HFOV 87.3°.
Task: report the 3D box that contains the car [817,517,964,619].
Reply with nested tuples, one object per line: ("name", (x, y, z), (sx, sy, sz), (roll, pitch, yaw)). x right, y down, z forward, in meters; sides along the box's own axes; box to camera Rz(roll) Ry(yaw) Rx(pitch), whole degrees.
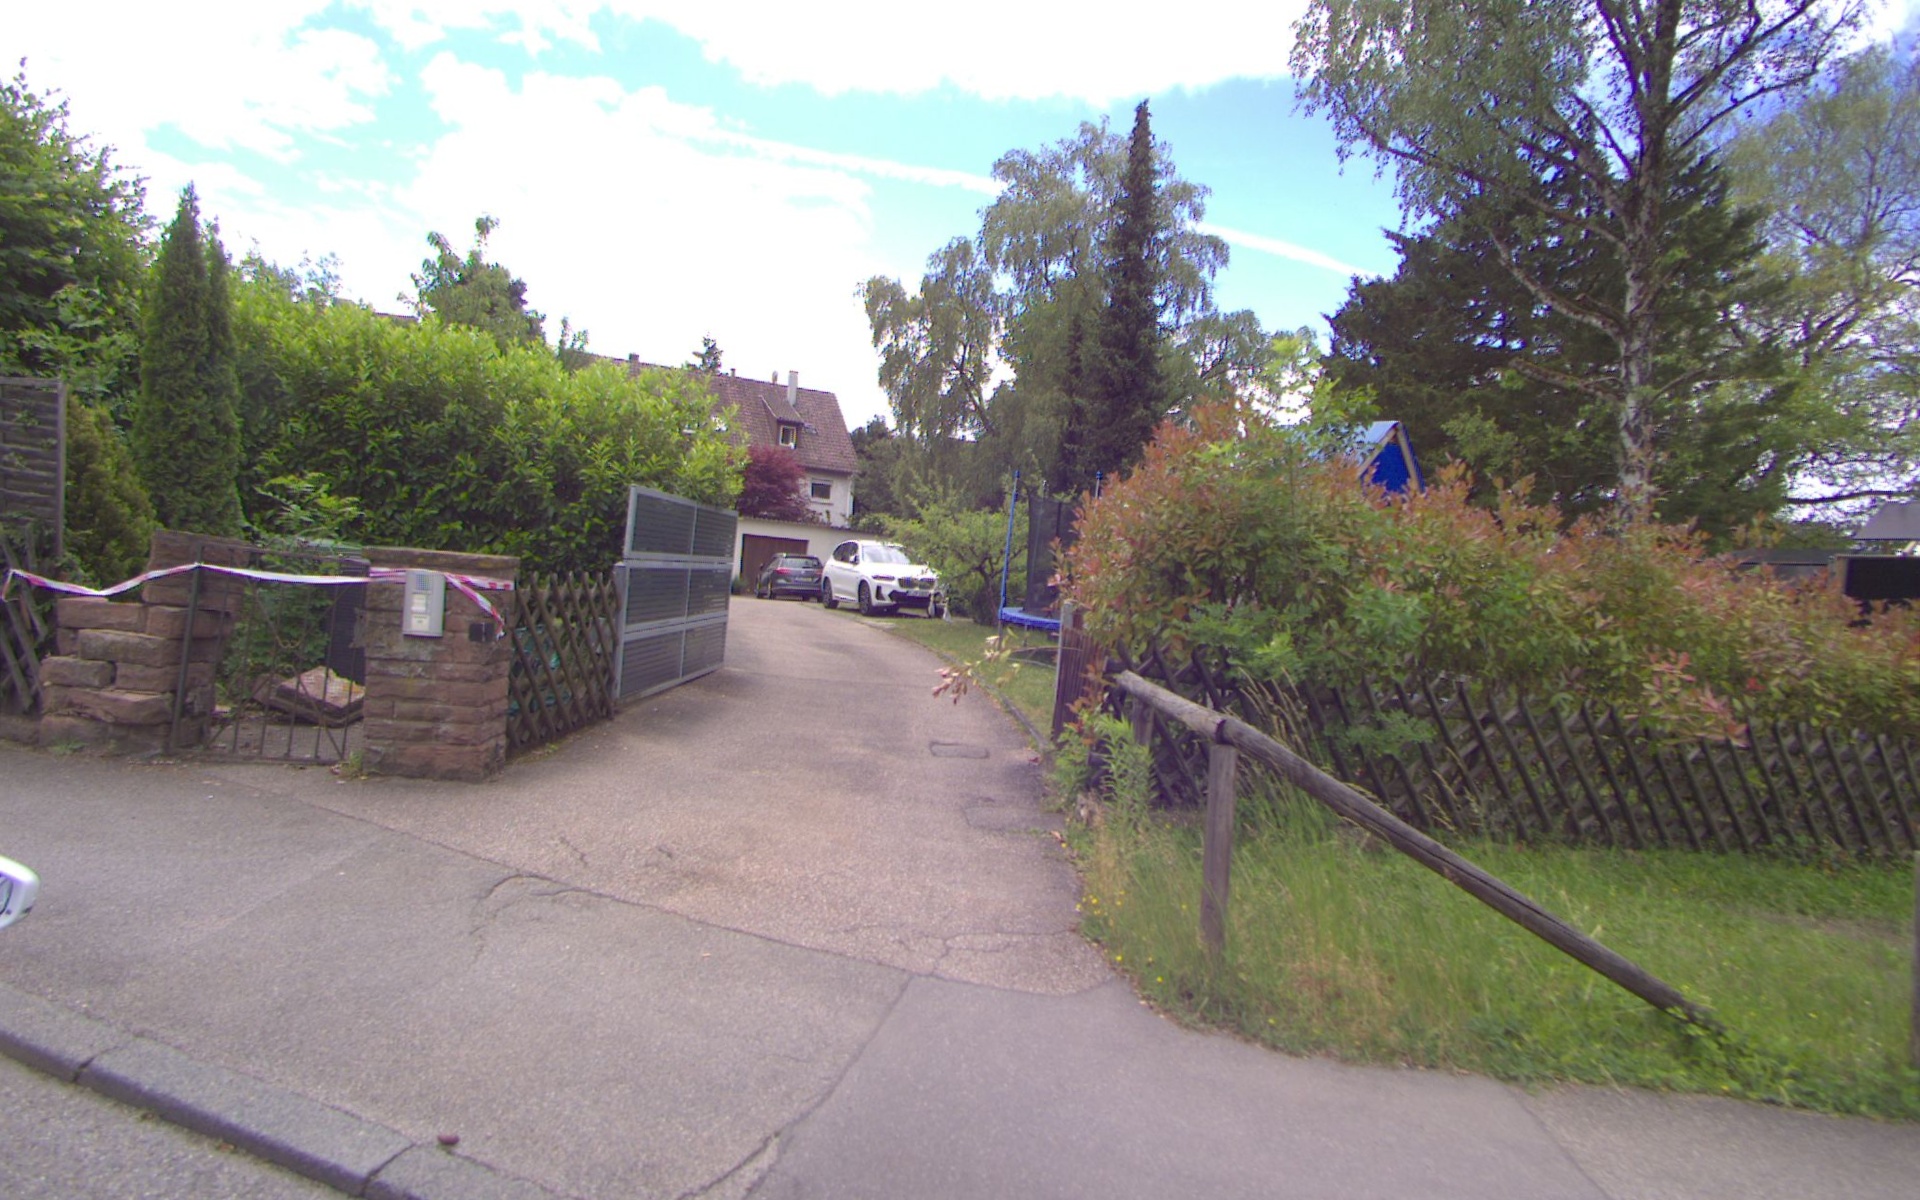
("car", (-1.699, -0.732, 23.036), (1.972, 2.041, 4.259), (2, 2, -24))

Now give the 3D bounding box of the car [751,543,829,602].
("car", (-5.412, -0.815, 31.737), (1.577, 1.527, 3.587), (1, -4, -24))
